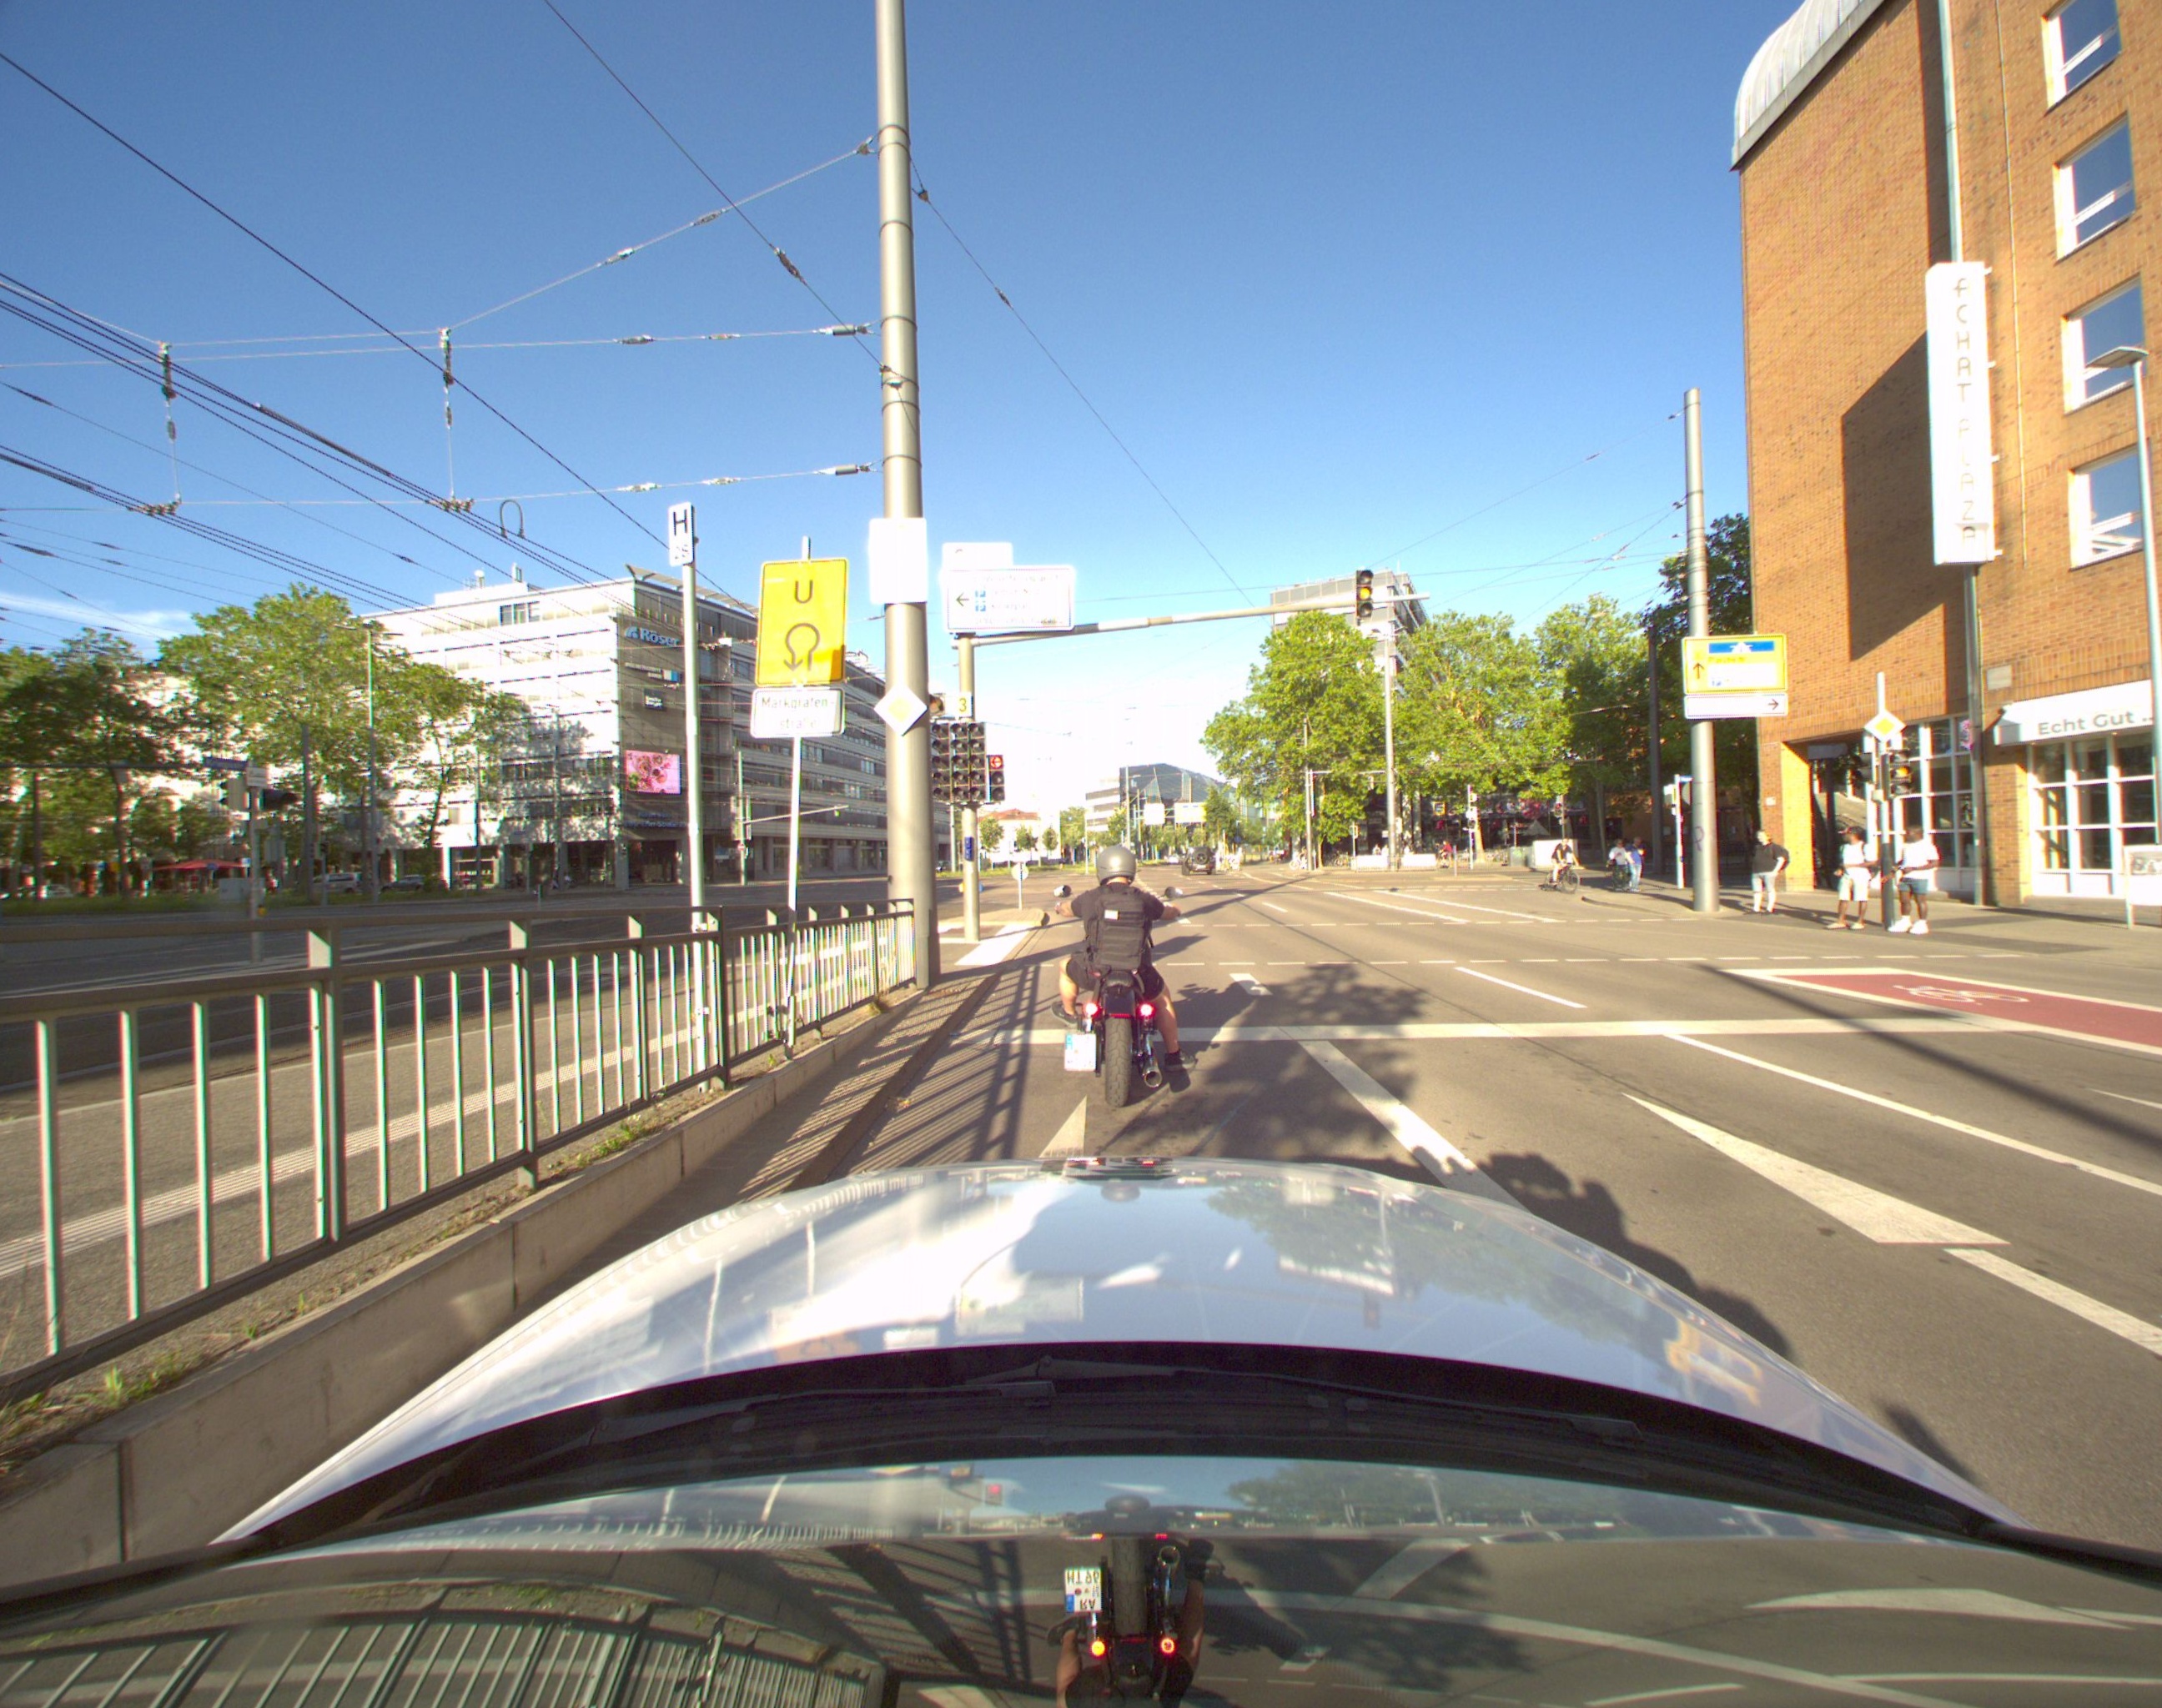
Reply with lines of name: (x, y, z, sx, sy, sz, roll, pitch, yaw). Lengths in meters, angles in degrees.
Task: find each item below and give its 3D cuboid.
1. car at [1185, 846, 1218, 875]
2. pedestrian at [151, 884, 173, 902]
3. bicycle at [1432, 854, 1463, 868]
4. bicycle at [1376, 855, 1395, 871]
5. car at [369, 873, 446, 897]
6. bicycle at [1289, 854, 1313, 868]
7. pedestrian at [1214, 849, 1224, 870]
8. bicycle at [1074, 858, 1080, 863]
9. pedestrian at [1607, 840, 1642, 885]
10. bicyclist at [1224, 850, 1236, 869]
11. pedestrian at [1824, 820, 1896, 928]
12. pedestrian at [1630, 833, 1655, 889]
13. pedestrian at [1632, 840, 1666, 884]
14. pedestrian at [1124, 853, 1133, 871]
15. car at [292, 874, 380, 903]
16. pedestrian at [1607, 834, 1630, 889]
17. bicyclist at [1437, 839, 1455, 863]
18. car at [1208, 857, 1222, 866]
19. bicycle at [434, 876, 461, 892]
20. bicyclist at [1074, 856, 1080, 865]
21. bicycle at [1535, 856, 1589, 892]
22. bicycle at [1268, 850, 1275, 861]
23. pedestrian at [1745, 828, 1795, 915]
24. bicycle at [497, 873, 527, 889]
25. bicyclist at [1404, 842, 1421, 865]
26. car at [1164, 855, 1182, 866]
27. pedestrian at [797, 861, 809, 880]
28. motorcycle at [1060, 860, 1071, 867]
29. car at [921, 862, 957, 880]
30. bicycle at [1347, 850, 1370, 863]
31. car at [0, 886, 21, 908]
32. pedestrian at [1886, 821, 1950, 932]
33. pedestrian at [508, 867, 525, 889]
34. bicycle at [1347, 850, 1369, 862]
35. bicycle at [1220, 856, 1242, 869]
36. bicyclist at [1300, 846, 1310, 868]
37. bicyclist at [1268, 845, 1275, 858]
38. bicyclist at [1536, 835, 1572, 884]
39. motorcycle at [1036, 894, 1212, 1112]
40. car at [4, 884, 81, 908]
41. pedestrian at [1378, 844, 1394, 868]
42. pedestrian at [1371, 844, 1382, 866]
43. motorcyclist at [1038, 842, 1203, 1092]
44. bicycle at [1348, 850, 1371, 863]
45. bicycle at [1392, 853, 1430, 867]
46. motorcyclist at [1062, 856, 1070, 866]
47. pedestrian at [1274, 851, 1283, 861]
car: (8.040, 0.435, 54.514, 2.042, 1.874, 4.234, 0, -1, 7)
pedestrian: (-81.922, 3.432, 72.625, 0.985, 1.546, 0.875, -2, -1, 9)
bicycle: (25.249, 0.451, 56.165, 1.844, 0.910, 0.653, -2, 0, 6)
bicycle: (20.717, 0.601, 55.392, 0.785, 1.052, 1.926, 0, -1, 7)
car: (-50.588, 2.340, 61.199, 4.378, 1.572, 1.869, -2, 2, 6)
bicycle: (17.567, 0.578, 65.030, 1.840, 1.021, 0.518, -2, -1, 13)
pedestrian: (11.723, 0.476, 69.187, 0.693, 1.837, 0.518, -1, -1, 37)
bicycle: (-0.795, 1.279, 161.688, 0.637, 1.107, 1.693, -1, 0, 20)
pedestrian: (18.929, 0.285, 28.360, 0.674, 1.539, 0.741, 0, -1, -6)
bicyclist: (12.282, 0.452, 67.079, 0.736, 1.503, 0.573, -2, -1, 25)
pedestrian: (13.640, 0.345, 14.269, 0.500, 1.833, 0.725, -3, -1, -33)
pedestrian: (17.720, 0.215, 25.712, 0.596, 1.727, 0.606, -1, -1, 39)
pedestrian: (19.970, 0.280, 28.661, 0.649, 1.539, 0.741, 0, -1, -6)
pedestrian: (4.022, 0.676, 69.046, 0.654, 1.582, 0.490, -1, 0, 5)
car: (-56.161, 2.578, 61.428, 4.888, 1.843, 1.930, -2, 2, 3)
pedestrian: (17.048, 0.245, 25.843, 0.556, 1.704, 0.663, -1, -1, 36)
bicyclist: (25.172, -0.201, 56.188, 0.921, 1.615, 0.638, -2, 0, 5)
car: (21.222, 1.172, 128.976, 1.828, 1.464, 4.017, -1, -1, 16)
bicycle: (-51.222, 2.408, 65.874, 0.466, 1.151, 1.844, -1, 1, 9)
bicyclist: (-0.798, 1.262, 161.664, 0.757, 1.667, 0.998, -1, 0, 19)
bicycle: (15.535, 0.636, 26.354, 0.598, 1.050, 1.882, -6, 0, 2)
bicycle: (26.360, 0.153, 112.793, 0.854, 1.481, 2.587, -2, 0, 15)
pedestrian: (14.278, 0.346, 16.888, 0.577, 1.767, 0.687, -1, 1, -39)
bicycle: (-43.176, 2.060, 61.840, 1.834, 1.163, 0.613, -1, 3, 3)
bicyclist: (29.338, -0.043, 72.123, 1.220, 1.931, 0.837, -1, 0, 8)
car: (12.999, 0.977, 114.796, 1.888, 1.508, 4.015, -1, -1, 14)
pedestrian: (-27.301, 1.644, 79.856, 0.670, 1.823, 0.888, -3, -1, 12)
motorcycle: (-2.871, 1.740, 152.071, 0.975, 1.232, 2.957, -2, 0, 19)
car: (-13.752, 1.620, 79.172, 1.778, 1.465, 4.328, -2, 0, 15)
bicycle: (22.500, 0.218, 66.039, 1.692, 0.986, 0.392, -2, 0, 15)
car: (-85.492, 3.405, 63.100, 4.056, 1.629, 1.995, -2, 1, 2)
pedestrian: (13.787, 0.371, 13.428, 0.401, 1.774, 0.581, -3, -1, 12)
pedestrian: (-43.142, 1.828, 62.214, 0.831, 1.610, 0.607, 0, 3, 5)
bicycle: (22.896, 0.173, 67.403, 1.692, 0.986, 0.392, -2, 0, 15)
bicycle: (12.344, 0.711, 67.029, 1.612, 1.021, 0.519, -2, -1, 25)
bicyclist: (17.861, 0.218, 64.981, 0.737, 1.694, 0.572, -2, -1, 13)
bicyclist: (26.391, -0.353, 112.874, 0.854, 1.841, 1.262, -2, 0, 15)
bicyclist: (15.502, 0.179, 26.680, 0.576, 1.515, 0.851, -6, 1, 3)
motorcycle: (0.284, 0.914, 5.838, 1.002, 1.125, 2.324, 0, 0, 2)
car: (-79.773, 3.210, 62.595, 3.835, 1.638, 1.869, -2, 0, 6)
pedestrian: (20.710, 0.145, 55.344, 0.766, 1.594, 0.839, 0, -1, 3)
pedestrian: (25.374, 0.051, 69.860, 0.840, 1.852, 0.813, 1, 0, 16)
motorcyclist: (0.267, 0.702, 5.718, 1.018, 1.552, 1.287, 0, 0, 1)
bicycle: (22.305, 0.181, 65.198, 1.692, 0.986, 0.392, -2, 0, 15)
bicycle: (29.223, 0.543, 72.119, 3.024, 1.113, 0.837, -1, 0, 7)
motorcyclist: (-2.803, 1.336, 152.260, 1.010, 1.731, 1.468, -2, 0, 20)
pedestrian: (21.935, 0.216, 90.352, 0.777, 1.057, 0.819, -2, 0, 24)
